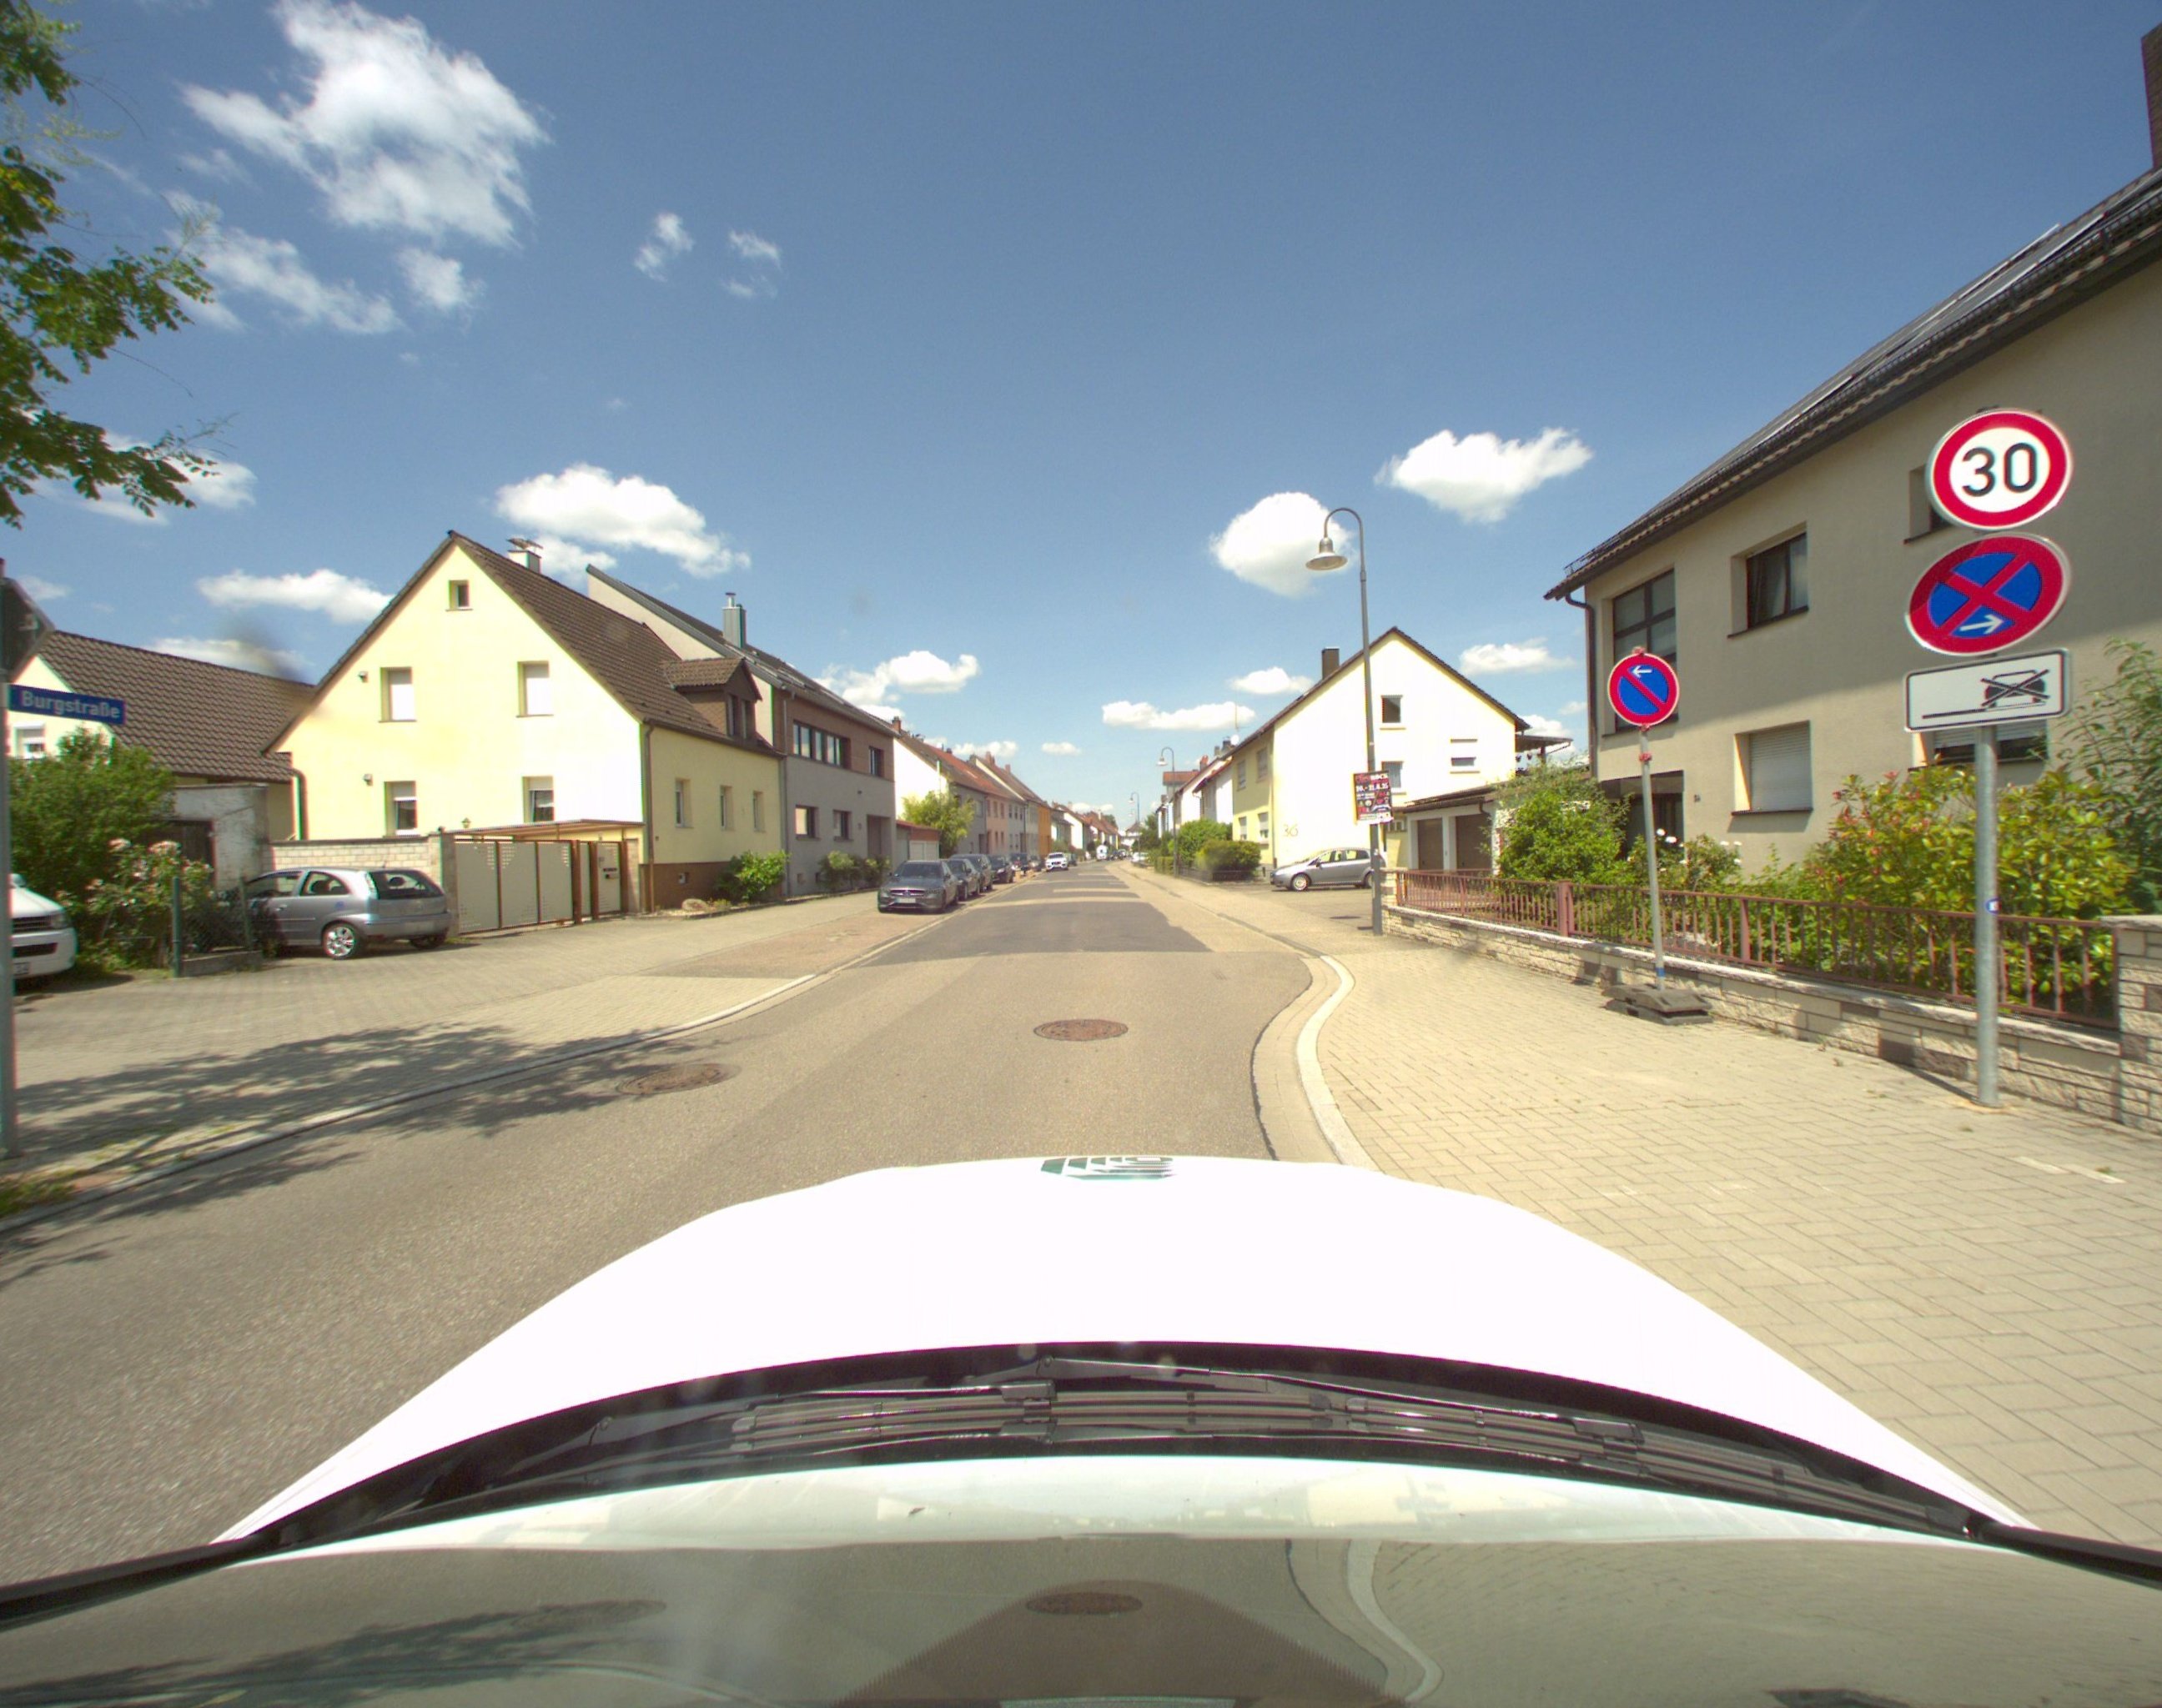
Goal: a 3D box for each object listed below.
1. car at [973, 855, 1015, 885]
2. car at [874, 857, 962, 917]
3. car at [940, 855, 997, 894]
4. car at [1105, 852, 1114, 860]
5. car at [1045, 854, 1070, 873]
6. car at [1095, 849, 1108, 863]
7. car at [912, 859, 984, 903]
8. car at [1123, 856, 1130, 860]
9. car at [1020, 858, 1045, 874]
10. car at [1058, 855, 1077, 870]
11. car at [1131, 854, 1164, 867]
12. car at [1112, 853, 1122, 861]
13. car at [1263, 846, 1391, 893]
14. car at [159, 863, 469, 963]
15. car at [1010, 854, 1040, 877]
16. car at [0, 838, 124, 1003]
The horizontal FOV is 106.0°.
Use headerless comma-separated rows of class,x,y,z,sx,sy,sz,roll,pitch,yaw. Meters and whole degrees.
car,-4.785,0.851,45.131,1.772,1.609,4.001,1,0,2
car,-4.709,0.904,24.117,1.811,1.433,4.137,2,1,-1
car,-4.816,0.840,35.423,1.772,1.609,4.001,1,0,2
car,5.843,0.473,164.868,1.683,1.504,3.776,0,-1,5
car,-2.055,0.863,73.021,1.842,1.659,4.004,1,0,4
car,3.633,0.353,143.024,2.035,2.312,3.776,0,-1,5
car,-4.756,0.932,29.748,1.809,1.433,4.141,1,0,2
car,11.940,0.995,214.756,1.683,1.133,3.776,0,-1,5
car,-4.273,1.040,72.064,1.665,1.336,3.726,1,0,4
car,-1.519,0.967,94.429,1.842,1.659,4.004,1,0,4
car,7.266,0.718,88.762,3.510,1.464,1.629,0,-1,1
car,6.295,0.534,142.953,1.683,1.341,3.776,0,-1,5
car,8.561,0.530,28.562,3.972,1.473,1.747,-2,0,1
car,-12.414,0.904,13.334,3.508,1.471,1.794,0,0,5
car,-4.053,0.846,59.887,1.804,1.609,4.001,1,0,2
car,-13.819,0.724,9.085,3.971,1.800,2.001,0,0,2
